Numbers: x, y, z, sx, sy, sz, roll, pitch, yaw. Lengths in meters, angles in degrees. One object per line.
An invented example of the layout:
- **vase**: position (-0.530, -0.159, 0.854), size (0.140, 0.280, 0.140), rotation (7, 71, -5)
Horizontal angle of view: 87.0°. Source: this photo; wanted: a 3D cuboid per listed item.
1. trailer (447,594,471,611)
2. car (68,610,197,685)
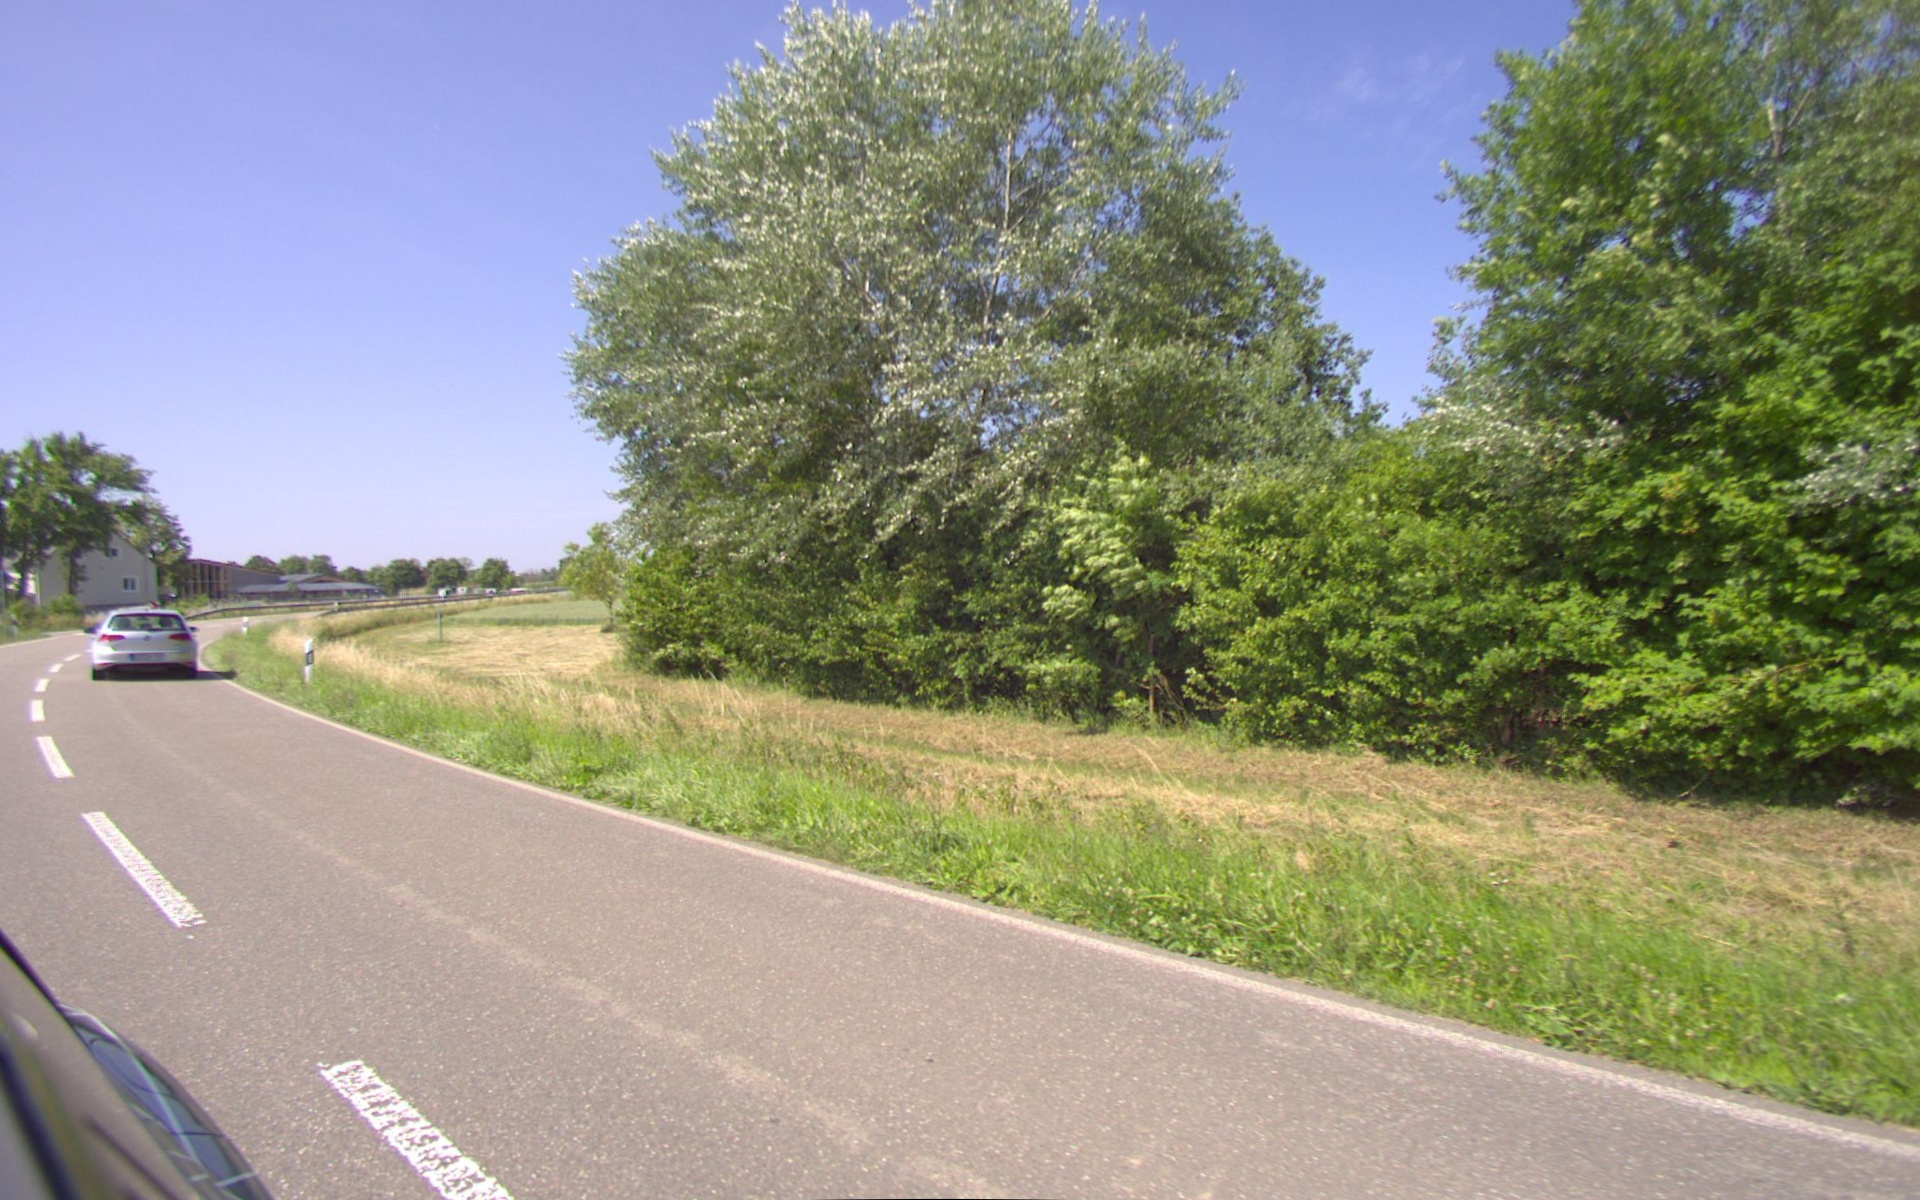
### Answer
- **trailer**: position (-86.528, 0.376, 174.811), size (2.201, 2.886, 5.048), rotation (-2, 1, -44)
- **car**: position (-17.747, 0.964, 21.652), size (1.763, 1.438, 4.063), rotation (3, -2, -44)
